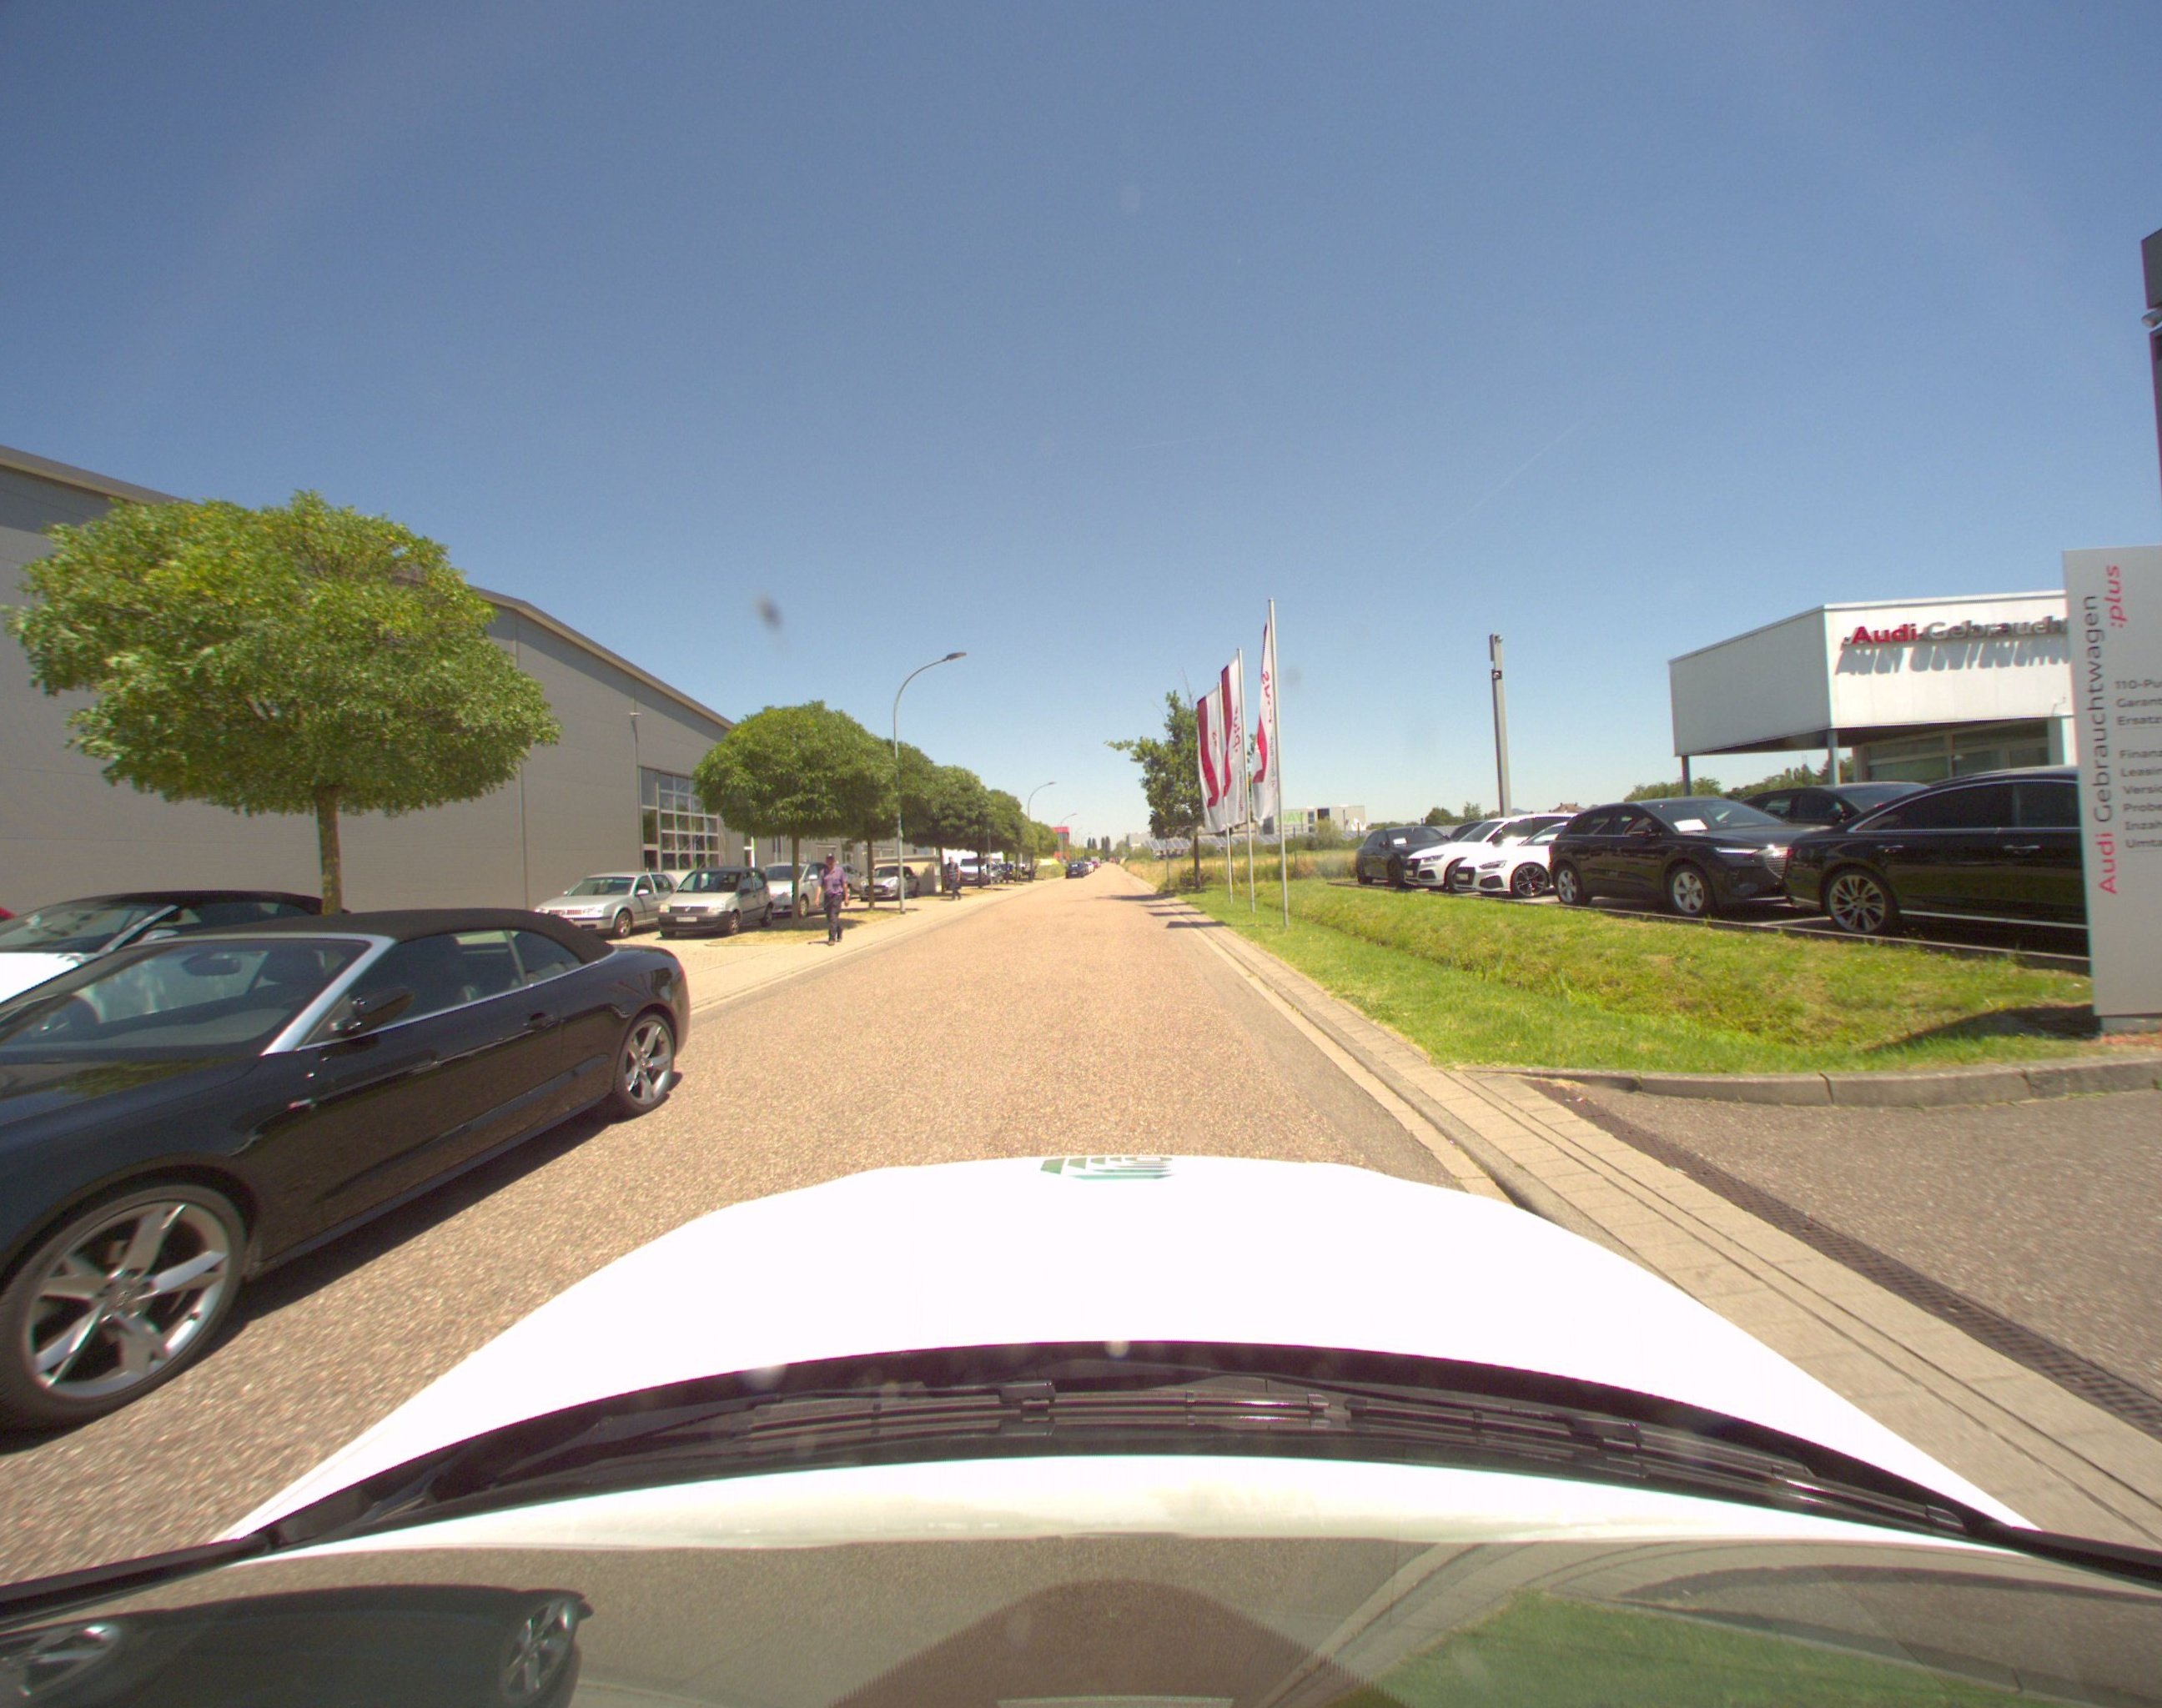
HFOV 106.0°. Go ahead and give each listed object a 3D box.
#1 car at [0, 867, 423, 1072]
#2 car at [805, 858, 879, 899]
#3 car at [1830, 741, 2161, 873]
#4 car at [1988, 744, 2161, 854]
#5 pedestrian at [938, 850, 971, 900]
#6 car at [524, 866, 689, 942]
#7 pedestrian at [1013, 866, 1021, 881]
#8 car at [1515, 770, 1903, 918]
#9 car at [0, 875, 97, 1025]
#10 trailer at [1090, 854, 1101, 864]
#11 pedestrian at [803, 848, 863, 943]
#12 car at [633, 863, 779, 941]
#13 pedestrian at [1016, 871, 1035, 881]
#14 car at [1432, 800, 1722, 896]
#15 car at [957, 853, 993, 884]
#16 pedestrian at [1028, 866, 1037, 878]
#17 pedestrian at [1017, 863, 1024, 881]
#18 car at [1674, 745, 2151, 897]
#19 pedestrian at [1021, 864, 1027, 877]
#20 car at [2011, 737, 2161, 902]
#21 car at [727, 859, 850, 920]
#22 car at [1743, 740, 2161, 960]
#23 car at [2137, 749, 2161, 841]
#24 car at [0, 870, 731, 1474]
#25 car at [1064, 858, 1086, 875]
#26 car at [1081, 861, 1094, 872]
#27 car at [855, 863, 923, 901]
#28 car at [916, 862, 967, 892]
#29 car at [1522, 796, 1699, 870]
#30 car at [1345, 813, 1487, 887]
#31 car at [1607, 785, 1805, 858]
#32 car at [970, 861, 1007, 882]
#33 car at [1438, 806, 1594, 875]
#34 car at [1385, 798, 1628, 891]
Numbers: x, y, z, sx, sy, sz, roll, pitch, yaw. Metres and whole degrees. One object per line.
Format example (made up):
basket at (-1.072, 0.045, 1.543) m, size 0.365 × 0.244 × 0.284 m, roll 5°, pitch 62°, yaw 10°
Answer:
car at (-8.959, 0.909, 7.658) m, size 1.816 × 1.500 × 4.332 m, roll -1°, pitch 0°, yaw 4°
car at (-10.344, 1.018, 35.582) m, size 1.728 × 1.628 × 4.351 m, roll -1°, pitch 0°, yaw 3°
car at (14.144, -0.633, 11.906) m, size 2.017 × 1.590 × 4.782 m, roll -4°, pitch 0°, yaw 2°
car at (16.772, -0.886, 11.766) m, size 2.017 × 1.590 × 4.782 m, roll -4°, pitch 0°, yaw 2°
pedestrian at (-5.072, 0.822, 32.701) m, size 0.832 × 1.972 × 0.971 m, roll -2°, pitch -1°, yaw 42°
car at (-10.712, 1.066, 18.709) m, size 1.678 × 1.500 × 3.702 m, roll -1°, pitch 0°, yaw -2°
pedestrian at (-4.901, 1.481, 62.077) m, size 0.475 × 1.150 × 0.557 m, roll 0°, pitch -3°, yaw 12°
car at (8.593, -0.112, 11.887) m, size 2.017 × 1.573 × 4.782 m, roll -4°, pitch 0°, yaw 2°
car at (-11.899, 0.987, 6.896) m, size 1.816 × 1.500 × 4.263 m, roll -1°, pitch 0°, yaw 4°
trailer at (3.083, 1.093, 174.018) m, size 2.192 × 2.137 × 4.287 m, roll -3°, pitch -1°, yaw 2°
pedestrian at (-4.890, 0.802, 16.114) m, size 0.741 × 1.801 × 1.136 m, roll -1°, pitch 0°, yaw 4°
car at (-8.371, 0.996, 18.557) m, size 1.679 × 1.500 × 3.701 m, roll -2°, pitch 0°, yaw -3°
pedestrian at (-4.348, 1.724, 63.667) m, size 1.352 × 0.749 × 0.754 m, roll 0°, pitch -1°, yaw 4°
car at (9.763, -0.114, 16.320) m, size 4.514 × 1.457 × 2.031 m, roll -5°, pitch 0°, yaw -1°
car at (-7.211, 0.954, 55.820) m, size 1.831 × 2.019 × 5.125 m, roll 0°, pitch 0°, yaw 0°
pedestrian at (-4.313, 1.604, 72.425) m, size 0.747 × 1.099 × 0.647 m, roll 0°, pitch -1°, yaw 6°
pedestrian at (-5.361, 1.568, 72.090) m, size 0.503 × 1.595 × 0.754 m, roll 0°, pitch -1°, yaw 4°
car at (11.258, -0.367, 11.720) m, size 2.017 × 1.590 × 4.782 m, roll -4°, pitch 0°, yaw 2°
pedestrian at (-5.155, 1.474, 73.597) m, size 0.503 × 1.191 × 0.754 m, roll 0°, pitch -1°, yaw 4°
car at (11.142, -0.425, 6.201) m, size 1.889 × 1.573 × 5.479 m, roll -6°, pitch 0°, yaw 2°
car at (-8.442, 0.961, 23.976) m, size 1.758 × 1.573 × 4.542 m, roll -1°, pitch 0°, yaw 3°
car at (8.438, -0.124, 6.537) m, size 2.017 × 1.514 × 5.242 m, roll -6°, pitch 0°, yaw 2°
car at (19.718, -1.110, 12.046) m, size 2.017 × 1.590 × 4.782 m, roll -4°, pitch 0°, yaw 2°
car at (-3.674, 0.912, 3.909) m, size 1.817 × 1.500 × 4.527 m, roll -3°, pitch 0°, yaw 2°
car at (-0.567, 1.193, 79.959) m, size 1.920 × 1.567 × 4.190 m, roll -3°, pitch 0°, yaw 1°
car at (0.988, 1.935, 122.805) m, size 1.780 × 1.520 × 3.984 m, roll -3°, pitch 0°, yaw 2°
car at (-8.112, 1.144, 34.749) m, size 1.758 × 1.453 × 3.843 m, roll -1°, pitch 0°, yaw 3°
car at (-7.644, 1.212, 45.097) m, size 1.759 × 1.453 × 4.716 m, roll -3°, pitch 0°, yaw 2°
car at (14.764, -0.528, 23.114) m, size 2.016 × 1.725 × 4.813 m, roll -5°, pitch 0°, yaw 3°
car at (9.178, -0.103, 22.857) m, size 2.016 × 1.692 × 5.113 m, roll -5°, pitch 0°, yaw 3°
car at (17.399, -0.818, 23.062) m, size 2.016 × 1.679 × 4.813 m, roll -5°, pitch 0°, yaw 3°
car at (-6.920, 1.344, 61.624) m, size 1.919 × 1.440 × 4.844 m, roll -3°, pitch -2°, yaw 3°
car at (12.162, -0.352, 23.232) m, size 2.016 × 1.610 × 4.813 m, roll -5°, pitch 0°, yaw 3°
car at (9.776, -0.201, 18.994) m, size 4.514 × 1.692 × 2.031 m, roll -5°, pitch 0°, yaw -1°
